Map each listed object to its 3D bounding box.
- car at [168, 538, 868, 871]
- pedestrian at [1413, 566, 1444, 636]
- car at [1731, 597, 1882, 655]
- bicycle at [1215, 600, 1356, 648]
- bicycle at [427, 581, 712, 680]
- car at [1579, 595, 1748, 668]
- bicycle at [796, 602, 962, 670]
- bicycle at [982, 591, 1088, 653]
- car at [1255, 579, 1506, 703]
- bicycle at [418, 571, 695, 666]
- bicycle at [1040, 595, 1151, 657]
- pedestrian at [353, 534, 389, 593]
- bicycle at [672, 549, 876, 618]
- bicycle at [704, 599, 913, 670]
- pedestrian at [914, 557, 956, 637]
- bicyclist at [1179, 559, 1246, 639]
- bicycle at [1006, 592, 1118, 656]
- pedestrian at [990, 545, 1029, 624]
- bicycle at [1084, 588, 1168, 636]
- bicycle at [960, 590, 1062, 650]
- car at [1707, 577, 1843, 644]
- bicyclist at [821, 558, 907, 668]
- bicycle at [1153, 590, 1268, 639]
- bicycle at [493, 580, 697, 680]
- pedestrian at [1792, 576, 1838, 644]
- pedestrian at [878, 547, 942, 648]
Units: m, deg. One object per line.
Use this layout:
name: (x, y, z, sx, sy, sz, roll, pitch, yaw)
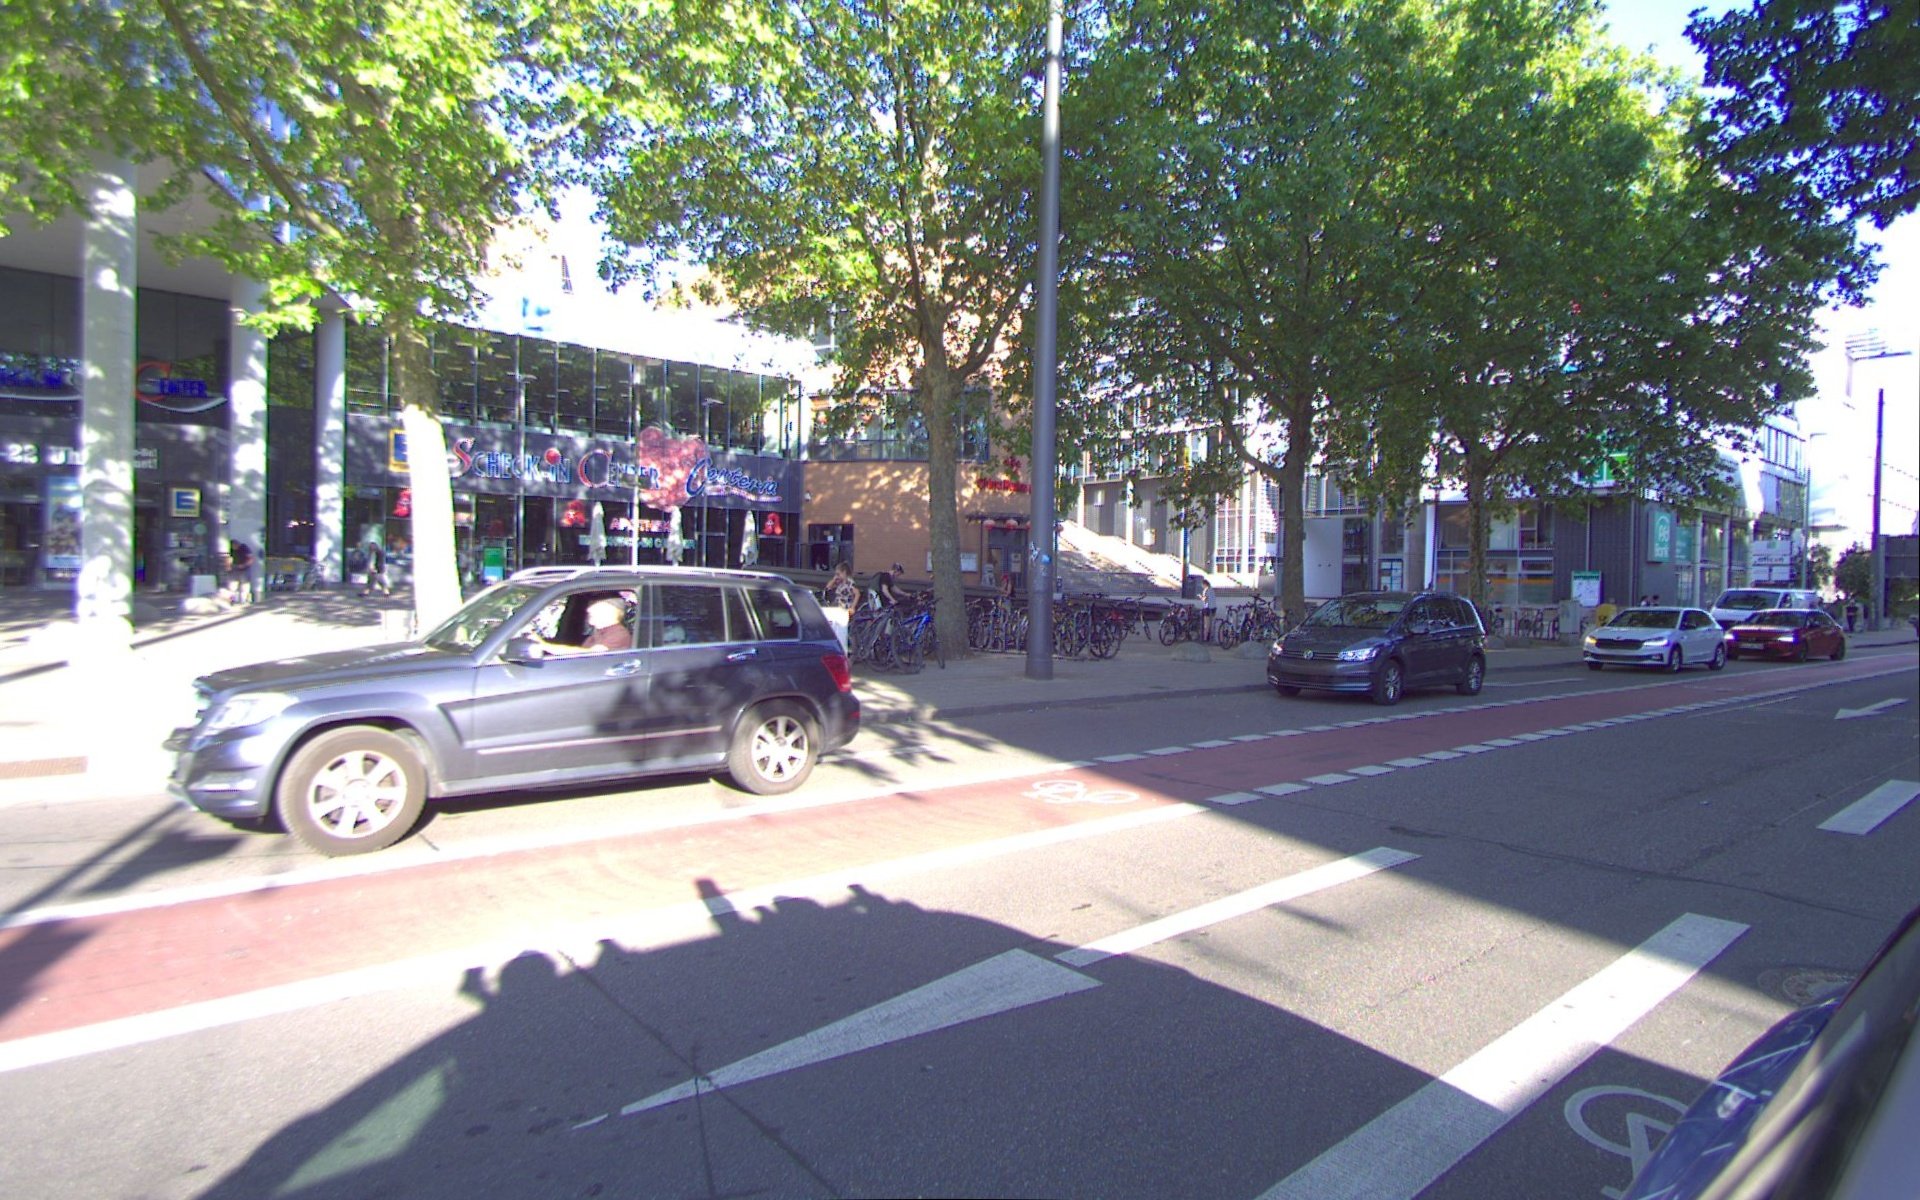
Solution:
car: (-2.851, 0.508, 7.103, 4.176, 1.656, 1.767, 0, 0, -42)
pedestrian: (18.075, 0.034, 39.040, 0.967, 2.681, 0.897, 0, 0, 18)
car: (23.434, 0.683, 27.999, 4.110, 1.508, 1.839, 0, -1, -29)
bicycle: (7.529, 0.538, 23.417, 3.136, 1.038, 0.979, 0, 0, -18)
bicycle: (-5.504, 0.375, 14.563, 3.744, 1.236, 0.758, -2, 1, -35)
car: (16.049, 0.661, 23.041, 4.115, 1.508, 1.837, 0, 0, -34)
bicycle: (-1.244, 0.524, 16.016, 2.591, 0.960, 0.924, -1, 0, -41)
bicycle: (1.534, 0.412, 20.403, 2.263, 1.177, 0.671, -1, 0, -38)
car: (6.532, 0.539, 15.516, 4.311, 1.656, 1.710, 0, 0, -39)
bicycle: (-5.952, 0.318, 15.201, 3.743, 1.236, 0.729, 4, -2, -35)
bicycle: (2.581, 0.465, 19.055, 2.295, 1.073, 0.682, -1, 1, -39)
pedestrian: (-17.830, -1.106, 30.634, 0.823, 1.765, 0.645, 0, 1, -41)
bicycle: (-3.129, -0.297, 17.371, 3.352, 1.013, 1.051, -1, 6, -41)
bicycle: (-2.400, 0.506, 16.508, 3.352, 1.014, 1.050, -1, 0, -41)
pedestrian: (-0.752, -0.093, 29.760, 1.195, 2.276, 1.052, 0, 0, -3)
bicyclist: (6.633, -0.054, 26.622, 1.132, 2.039, 1.301, 0, 1, -24)
bicycle: (2.026, 0.440, 19.814, 2.355, 1.177, 0.750, -1, 0, -40)
pedestrian: (1.438, -0.441, 29.527, 0.884, 2.261, 0.845, 0, 0, -19)
bicycle: (4.471, 0.300, 27.087, 2.653, 1.215, 0.698, -1, 1, -41)
bicycle: (1.078, 0.384, 20.937, 2.251, 1.177, 0.657, -1, 0, -38)
car: (26.113, 0.303, 32.354, 5.806, 1.989, 1.934, 0, 0, -36)
bicyclist: (-1.500, 0.192, 15.806, 1.005, 1.641, 0.902, 0, 0, -41)
bicycle: (6.558, 0.353, 26.798, 1.124, 1.097, 3.342, 0, 2, -23)
bicycle: (-4.956, 0.369, 13.846, 2.504, 1.236, 0.758, -2, 1, -35)
pedestrian: (26.282, 0.307, 31.099, 0.959, 2.039, 0.816, 1, -1, -31)
pedestrian: (-1.032, -0.068, 21.120, 0.922, 2.039, 1.085, 2, 1, 24)
